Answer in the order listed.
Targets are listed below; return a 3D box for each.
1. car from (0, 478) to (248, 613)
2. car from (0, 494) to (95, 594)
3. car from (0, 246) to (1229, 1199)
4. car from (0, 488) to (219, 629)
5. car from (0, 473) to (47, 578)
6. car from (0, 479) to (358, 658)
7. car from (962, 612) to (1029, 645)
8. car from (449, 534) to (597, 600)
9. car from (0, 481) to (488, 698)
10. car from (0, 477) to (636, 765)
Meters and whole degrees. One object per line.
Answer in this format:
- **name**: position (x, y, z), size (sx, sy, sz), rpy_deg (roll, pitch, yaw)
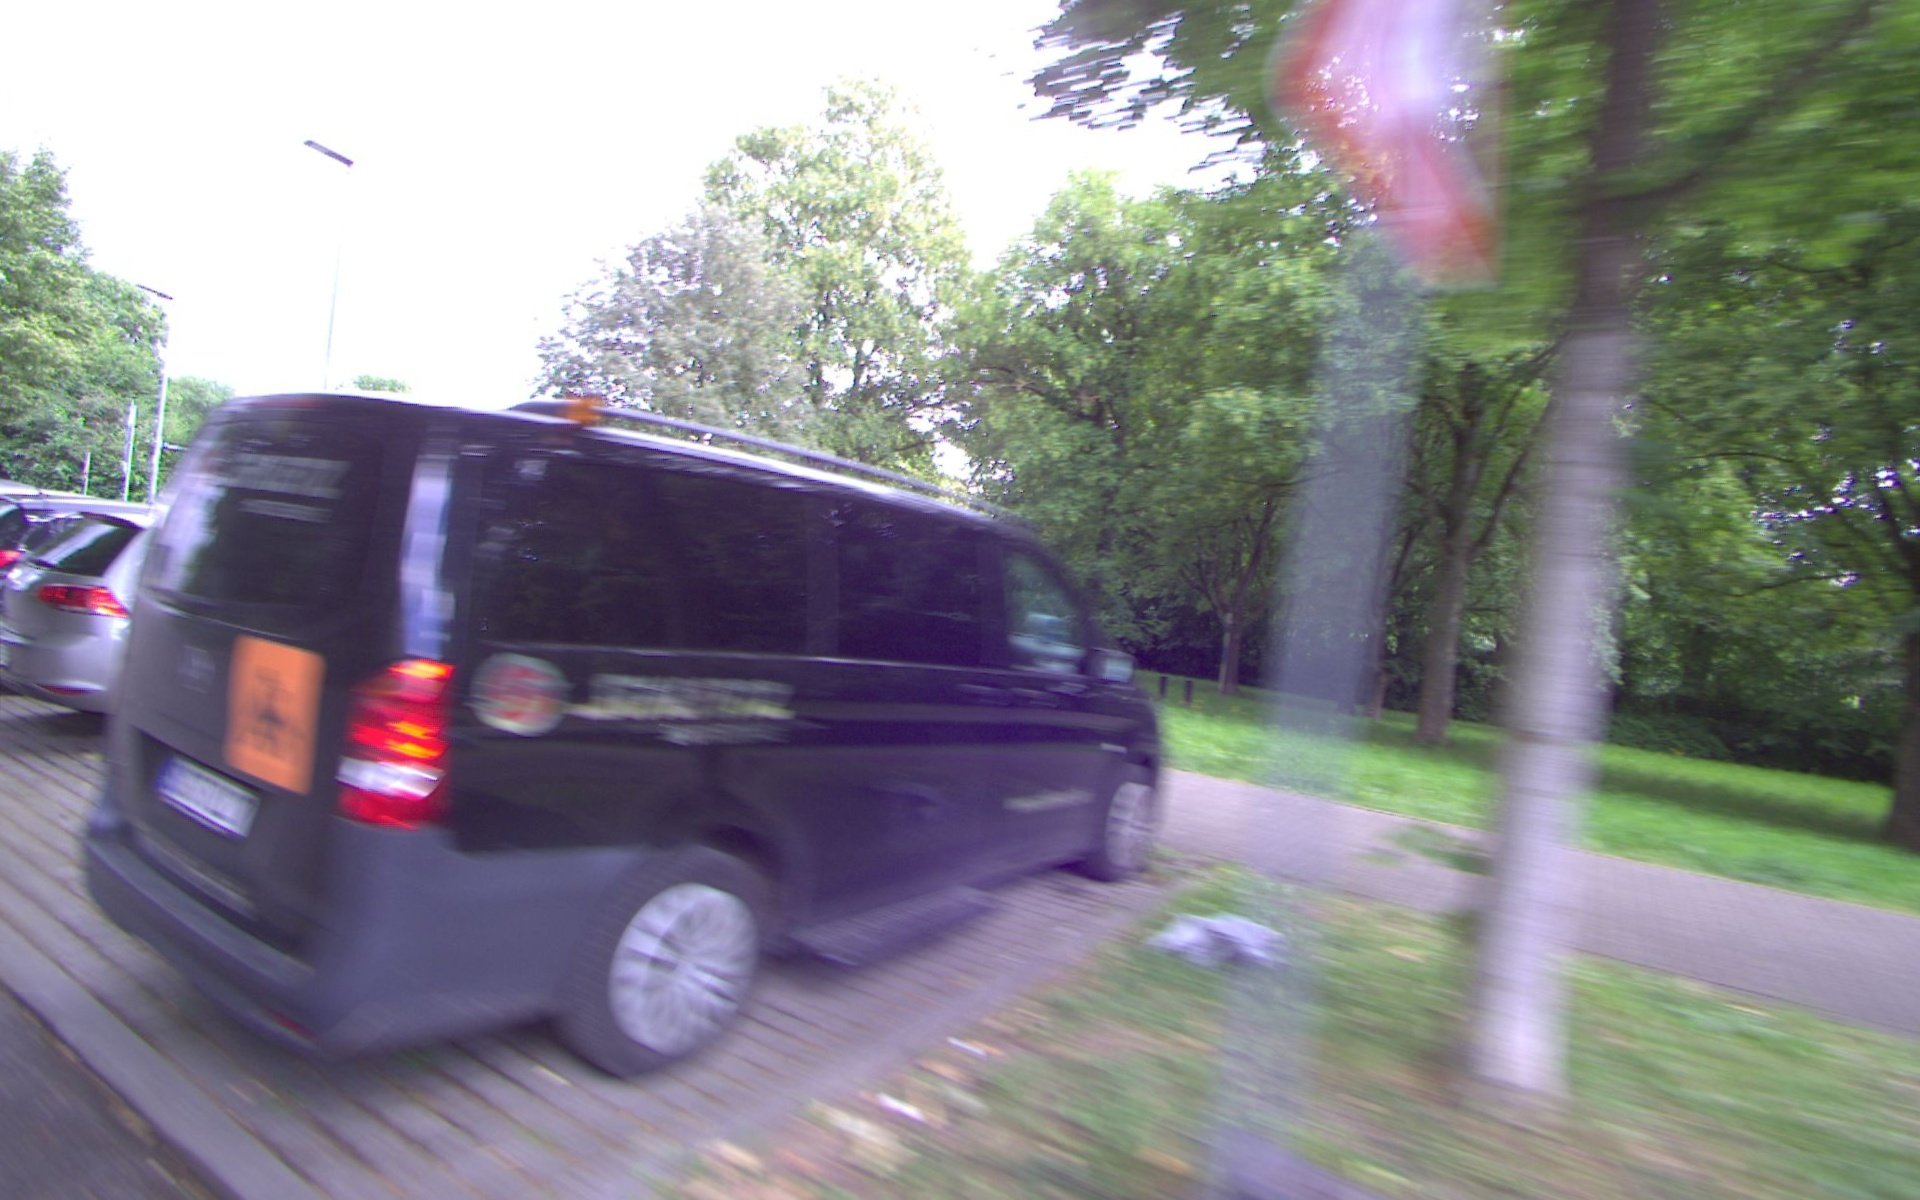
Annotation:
- **car**: position (-12.455, -0.777, 13.877), size (1.789, 1.578, 3.834), rpy_deg (6, 0, 32)
- **car**: position (-15.100, -0.970, 14.360), size (1.794, 1.375, 3.830), rpy_deg (6, 0, 36)
- **car**: position (-0.733, 0.344, 4.631), size (2.131, 2.040, 4.953), rpy_deg (7, 1, 34)
- **car**: position (-11.110, -0.553, 11.325), size (1.904, 1.448, 3.989), rpy_deg (6, 0, 32)
- **car**: position (-17.318, -1.408, 15.747), size (1.950, 1.670, 4.122), rpy_deg (6, 0, 36)
- **car**: position (-8.651, -0.308, 10.148), size (1.782, 1.547, 3.988), rpy_deg (6, 0, 33)
- **car**: position (2.176, 1.716, 60.335), size (1.679, 1.544, 4.280), rpy_deg (6, -1, 40)
- **car**: position (-18.708, -1.366, 43.295), size (2.106, 2.081, 5.316), rpy_deg (7, -1, 39)
- **car**: position (-6.573, -0.075, 8.872), size (1.735, 1.530, 3.959), rpy_deg (7, 1, 35)
- **car**: position (-4.666, 0.125, 7.498), size (1.765, 1.530, 3.960), rpy_deg (7, 1, 34)
